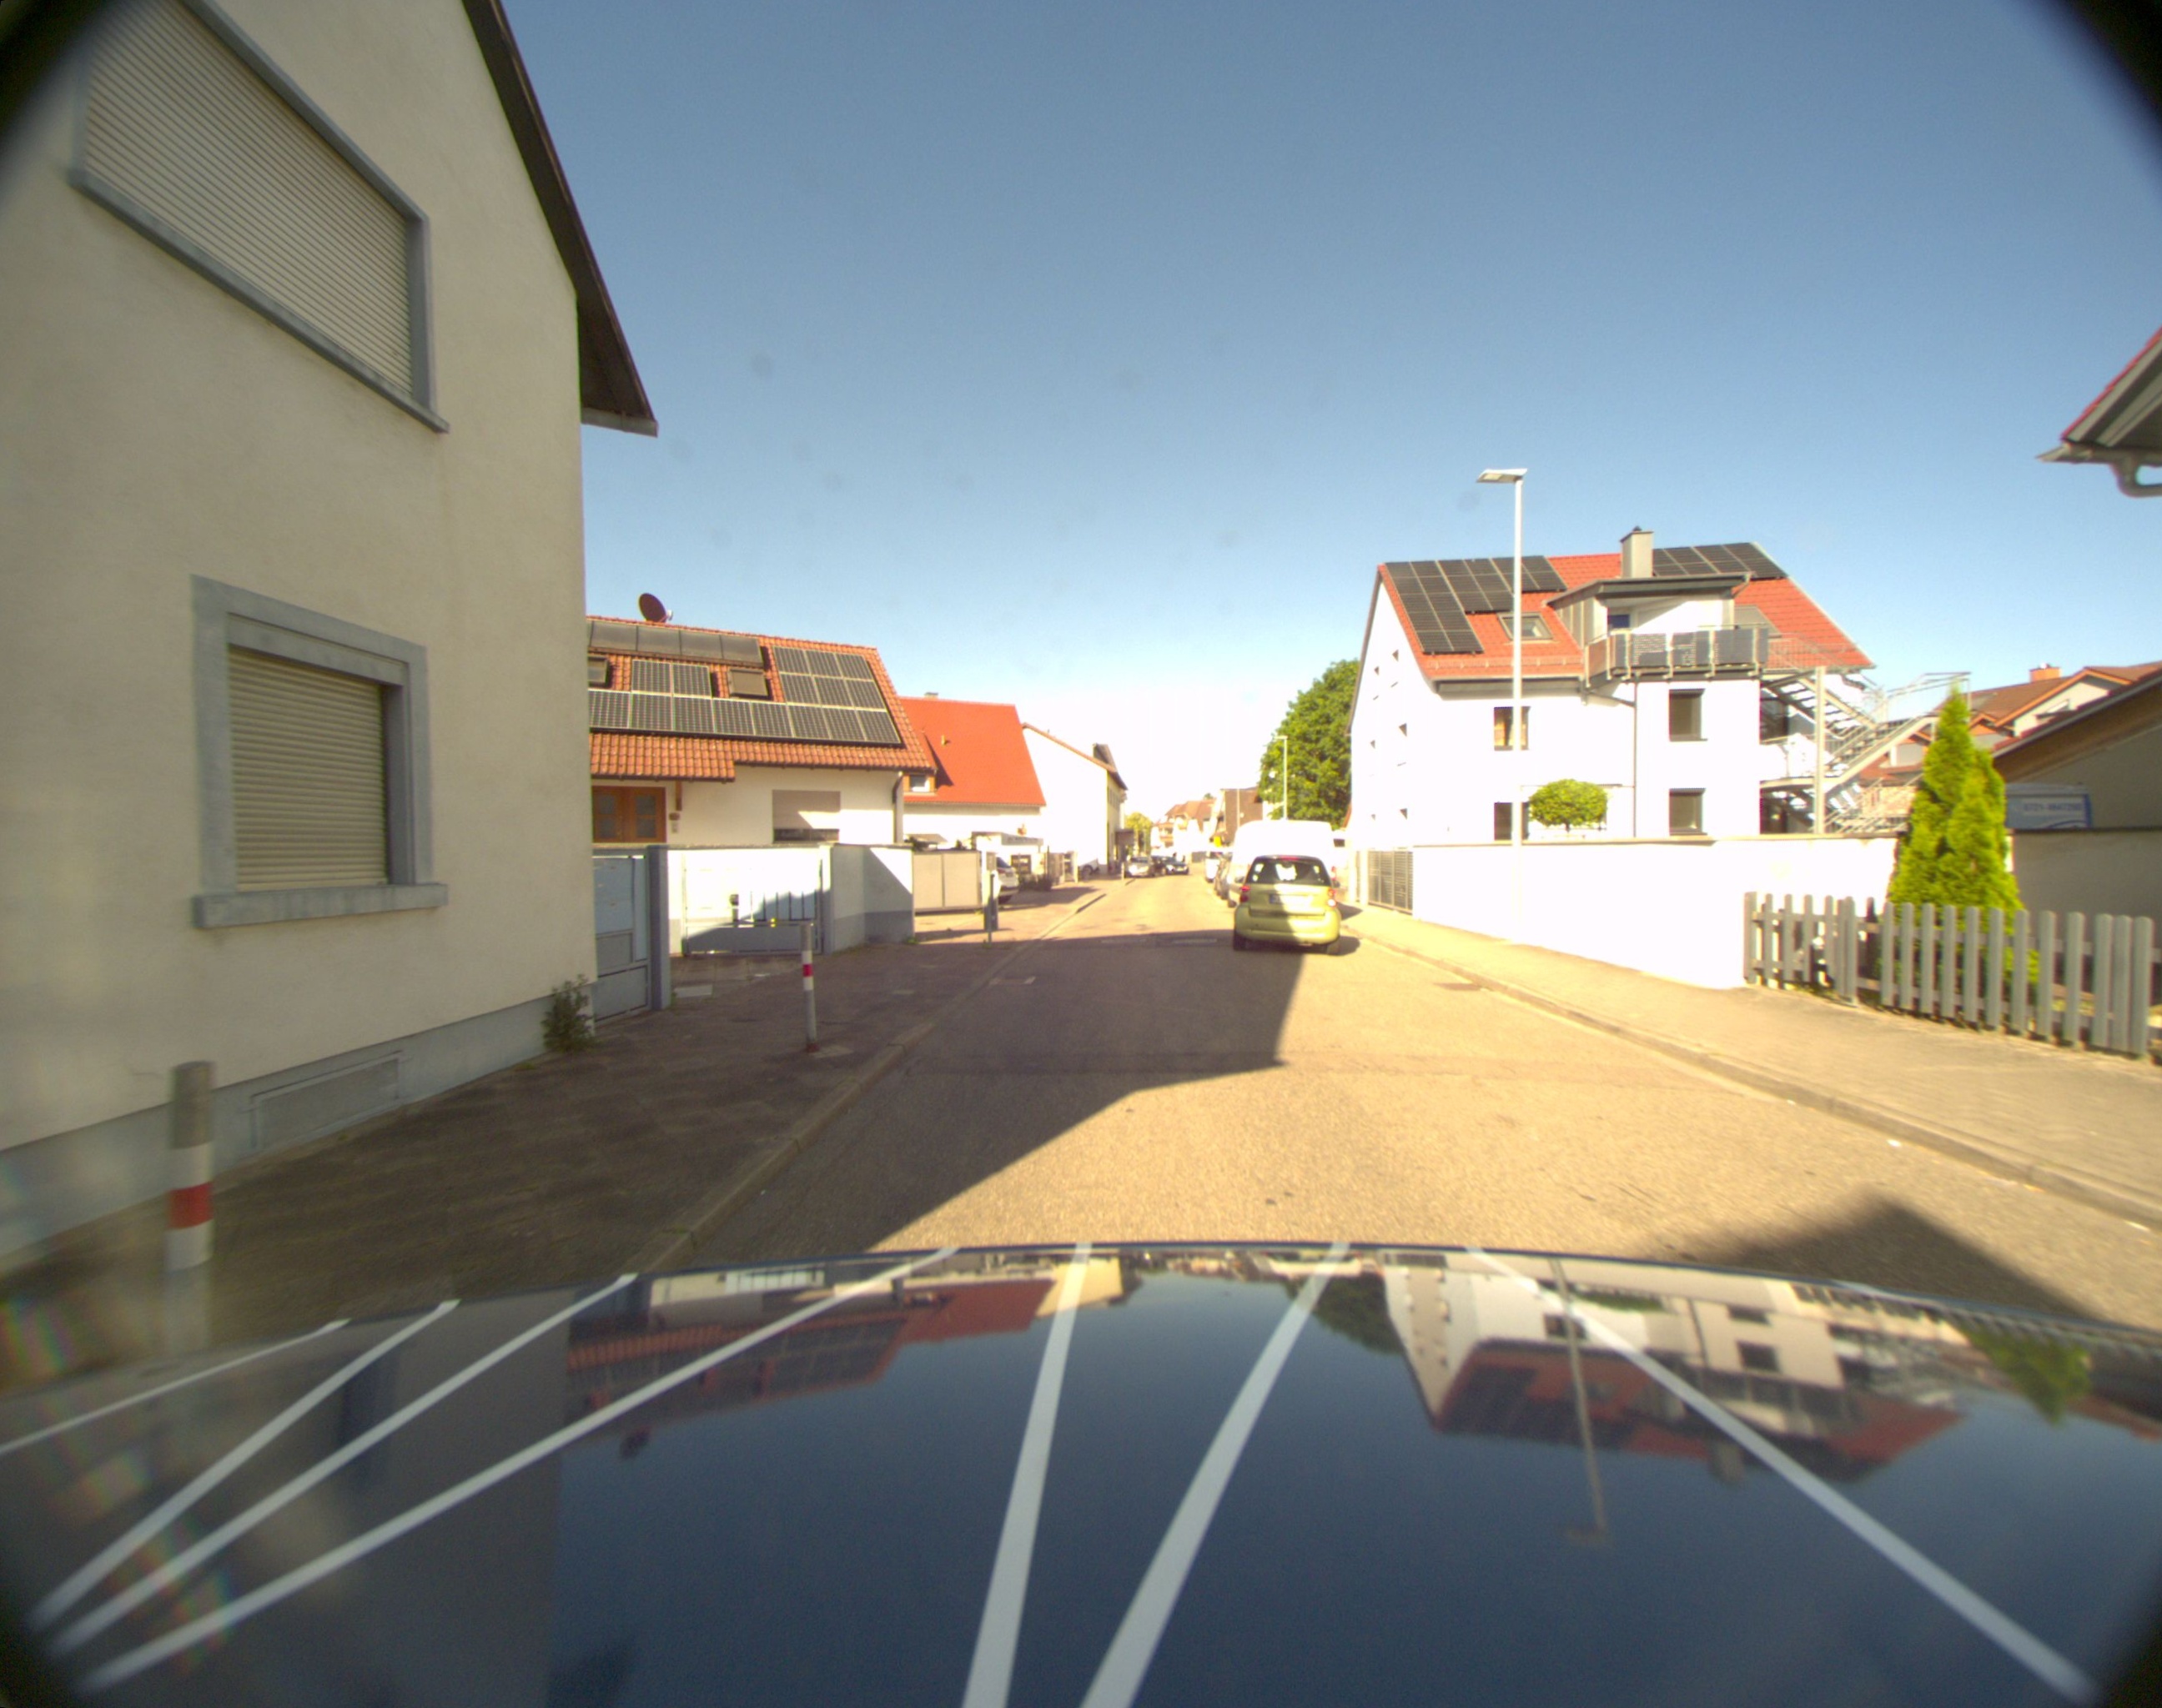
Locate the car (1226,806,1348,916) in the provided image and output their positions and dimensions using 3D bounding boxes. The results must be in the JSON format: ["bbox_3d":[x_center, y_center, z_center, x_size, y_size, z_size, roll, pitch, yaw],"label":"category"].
[{"bbox_3d":[5.038,0.132,19.515,2.201,2.376,6.067,0,0,7],"label":"car"}]

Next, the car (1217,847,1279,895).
[{"bbox_3d":[5.694,0.524,26.327,1.715,1.495,4.237,1,0,7],"label":"car"}]

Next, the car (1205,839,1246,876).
[{"bbox_3d":[7.788,0.155,41.433,1.906,1.906,5.072,0,1,7],"label":"car"}]

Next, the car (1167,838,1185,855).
[{"bbox_3d":[14.199,-1.112,114.009,2.257,2.456,5.517,1,0,3],"label":"car"}]

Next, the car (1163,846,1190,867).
[{"bbox_3d":[6.948,0.173,55.578,1.812,1.466,4.846,-1,0,7],"label":"car"}]

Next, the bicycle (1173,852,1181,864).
[{"bbox_3d":[10.197,0.379,80.540,0.639,1.175,2.022,-6,0,4],"label":"bicycle"}]

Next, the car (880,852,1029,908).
[{"bbox_3d":[-3.695,0.717,22.413,3.917,1.483,1.849,1,1,16],"label":"car"}]

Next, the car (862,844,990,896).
[{"bbox_3d":[-5.317,0.538,25.954,4.053,1.678,1.908,1,0,-20],"label":"car"}]

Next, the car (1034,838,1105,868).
[{"bbox_3d":[-0.820,-0.092,53.009,4.775,1.875,1.908,2,1,-2],"label":"car"}]

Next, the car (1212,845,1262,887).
[{"bbox_3d":[6.254,0.426,30.811,1.718,1.589,3.927,0,1,7],"label":"car"}]

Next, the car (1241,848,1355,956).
[{"bbox_3d":[3.514,0.691,12.630,1.576,1.538,2.968,2,1,13],"label":"car"}]

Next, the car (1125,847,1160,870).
[{"bbox_3d":[4.177,0.260,51.089,1.814,1.467,4.663,1,0,11],"label":"car"}]

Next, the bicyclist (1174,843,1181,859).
[{"bbox_3d":[10.192,-0.315,80.401,0.643,1.655,0.605,0,1,4],"label":"bicyclist"}]
